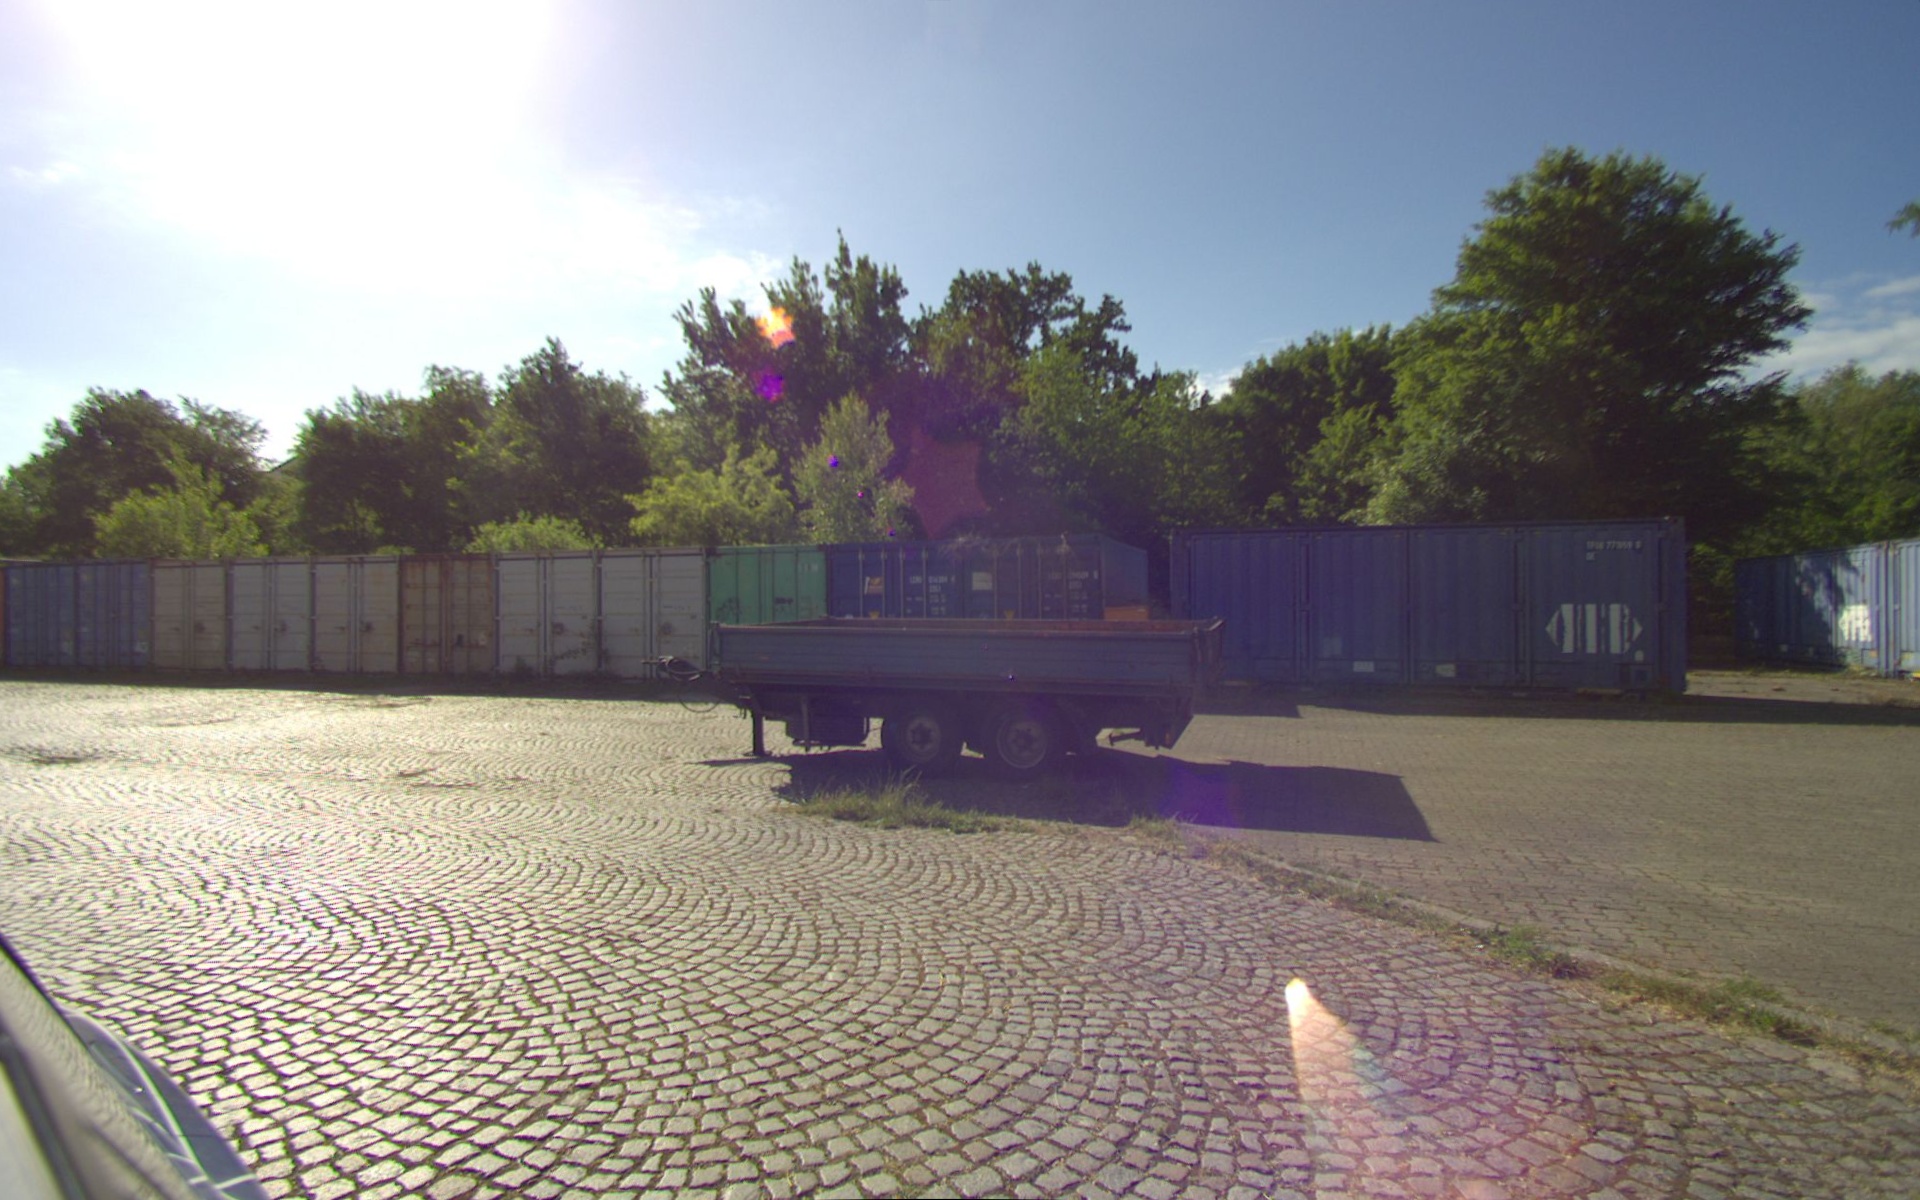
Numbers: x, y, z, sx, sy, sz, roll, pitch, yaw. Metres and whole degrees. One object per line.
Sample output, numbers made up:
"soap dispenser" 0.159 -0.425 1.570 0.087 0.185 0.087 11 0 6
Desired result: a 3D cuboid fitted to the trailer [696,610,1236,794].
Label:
"trailer" 0.179 0.831 10.070 4.823 1.425 2.633 0 0 19
